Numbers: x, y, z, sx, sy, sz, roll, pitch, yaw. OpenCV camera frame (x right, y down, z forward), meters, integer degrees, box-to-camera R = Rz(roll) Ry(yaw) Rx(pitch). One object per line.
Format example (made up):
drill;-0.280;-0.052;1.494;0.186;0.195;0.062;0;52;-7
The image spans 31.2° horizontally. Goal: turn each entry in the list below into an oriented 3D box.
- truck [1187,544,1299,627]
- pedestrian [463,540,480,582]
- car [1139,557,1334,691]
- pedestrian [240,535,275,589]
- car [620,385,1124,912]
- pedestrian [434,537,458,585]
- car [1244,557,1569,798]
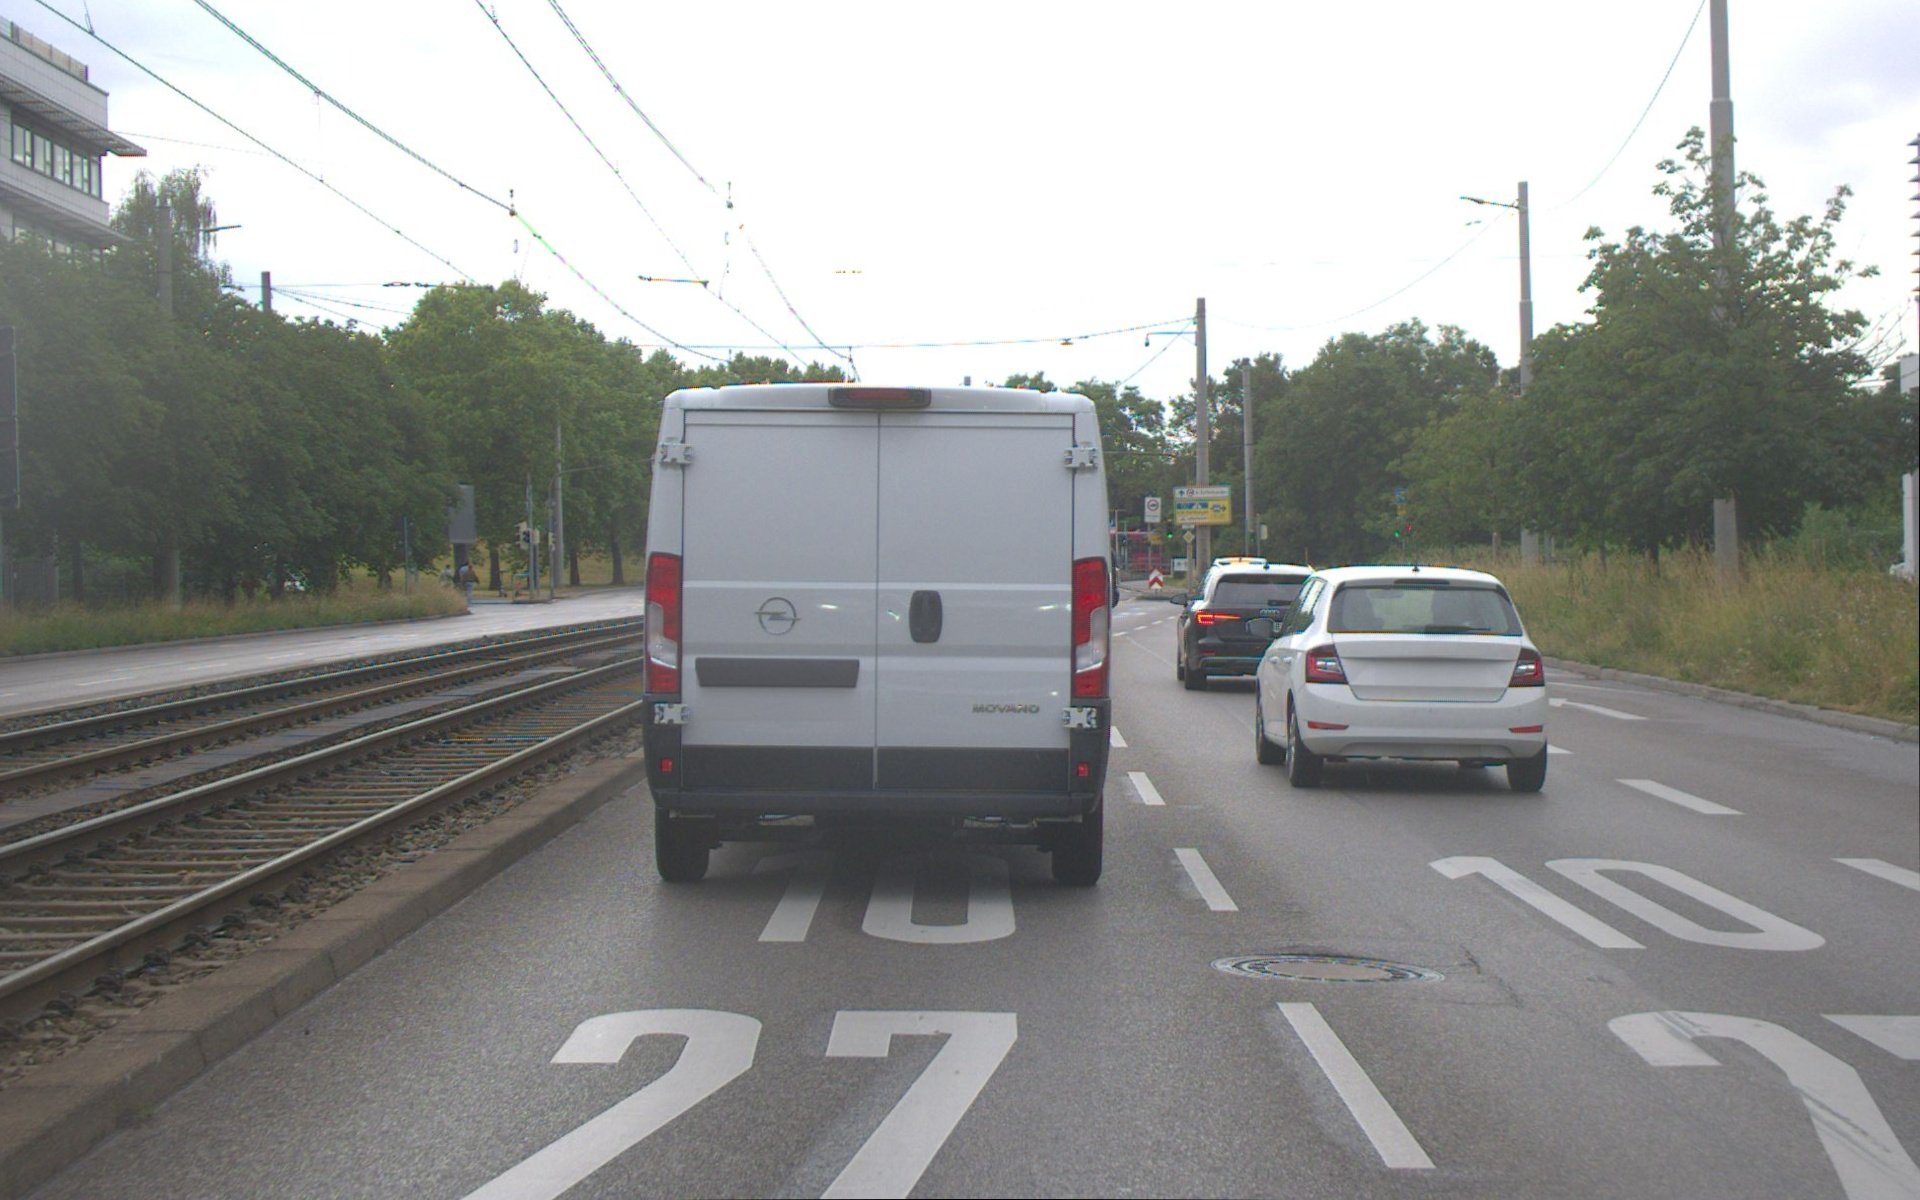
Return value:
truck;6.387;-0.365;78.070;1.993;1.784;4.414;-1;1;-2
pedestrian;-20.595;-1.639;144.962;0.506;1.781;0.832;1;1;6
car;3.094;0.240;39.198;1.789;1.444;4.000;0;1;-2
pedestrian;-26.122;-1.413;127.856;0.887;2.007;0.945;-1;1;16
car;-0.389;0.153;17.040;2.090;2.189;5.061;1;1;0
pedestrian;-22.009;-1.668;147.240;0.887;2.007;0.866;-1;1;0
car;2.963;0.465;23.492;1.746;1.452;3.671;1;1;1
